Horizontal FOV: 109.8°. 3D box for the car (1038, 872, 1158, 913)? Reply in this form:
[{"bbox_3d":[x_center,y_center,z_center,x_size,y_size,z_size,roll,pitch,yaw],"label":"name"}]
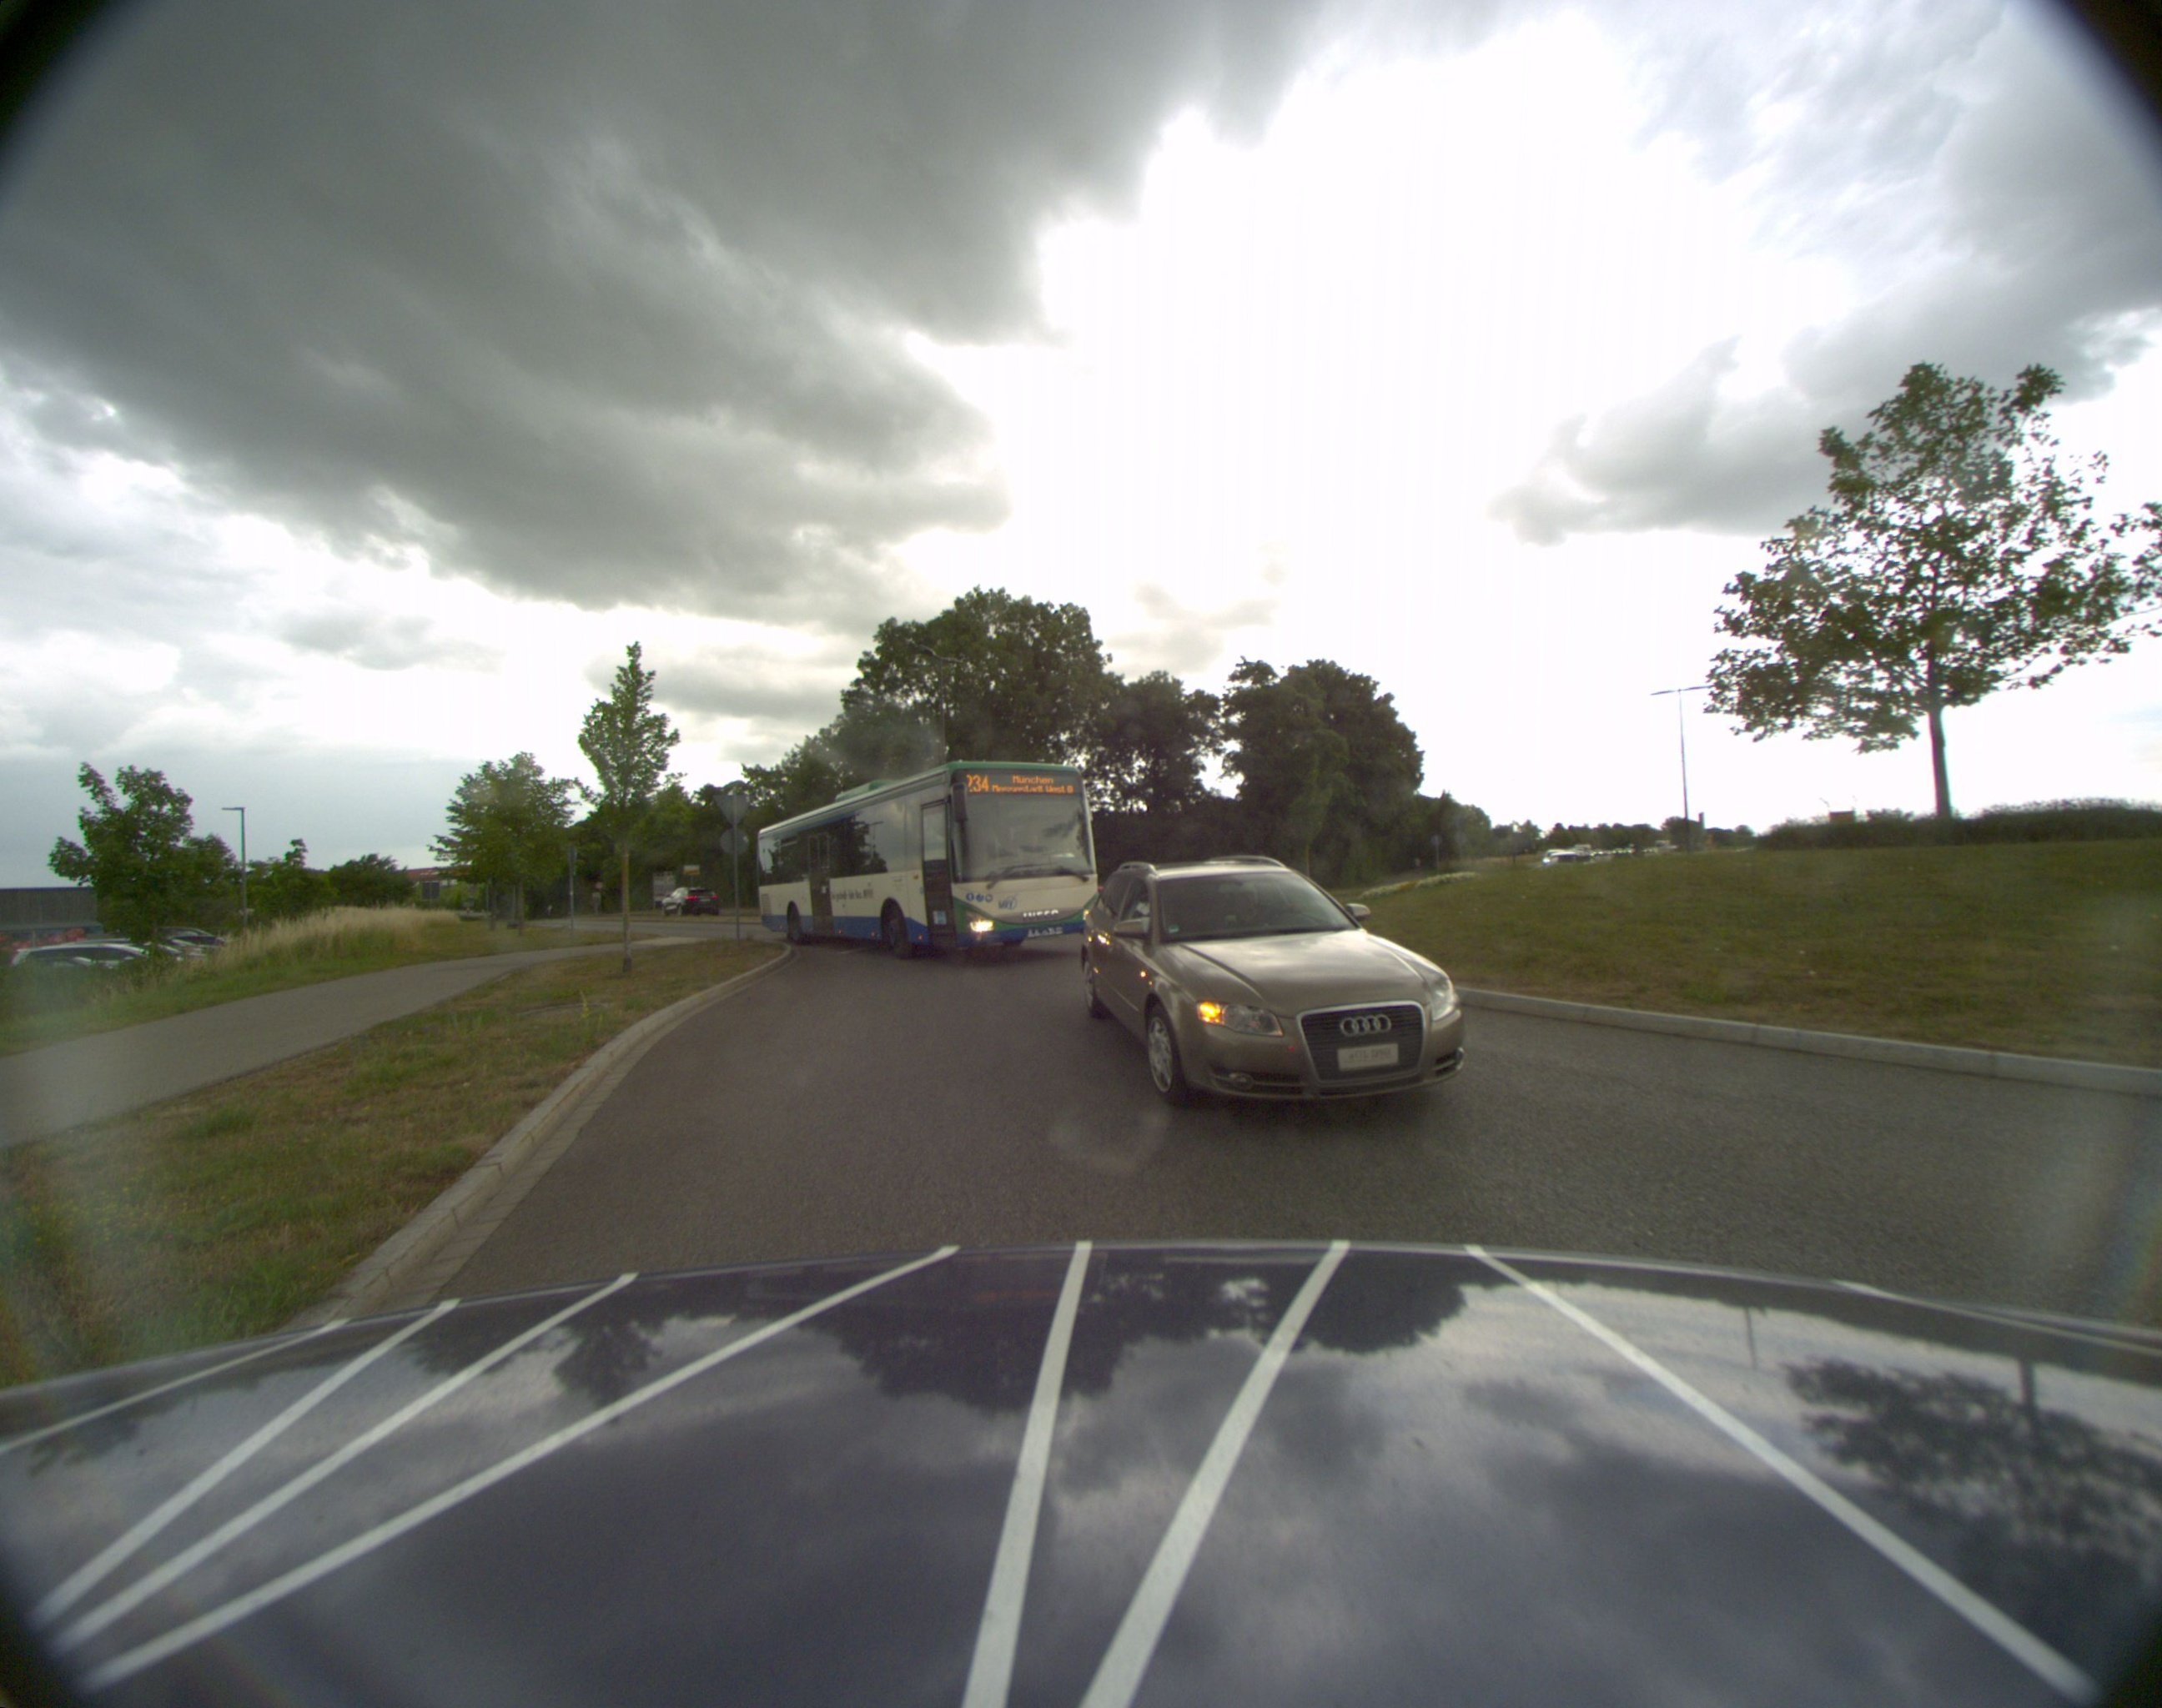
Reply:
[{"bbox_3d":[0.541,1.363,27.251,4.113,1.299,1.831,-1,-2,-4],"label":"car"}]

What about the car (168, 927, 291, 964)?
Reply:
[{"bbox_3d":[-43.982,4.700,39.376,3.896,1.455,1.693,-2,-1,-34],"label":"car"}]

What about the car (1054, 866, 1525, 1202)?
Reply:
[{"bbox_3d":[0.984,0.901,5.964,1.783,1.456,4.538,-4,-1,-9],"label":"car"}]

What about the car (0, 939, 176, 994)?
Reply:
[{"bbox_3d":[-35.496,3.963,27.030,3.896,1.455,1.693,-2,-1,-34],"label":"car"}]

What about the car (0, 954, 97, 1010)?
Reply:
[{"bbox_3d":[-34.074,4.082,23.625,3.896,1.455,1.693,-2,-1,-34],"label":"car"}]

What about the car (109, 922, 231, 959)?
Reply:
[{"bbox_3d":[-47.817,4.499,40.012,1.879,1.435,4.008,-3,-1,42],"label":"car"}]

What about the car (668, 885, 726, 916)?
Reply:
[{"bbox_3d":[-20.716,2.487,40.955,3.572,1.496,1.647,-3,-1,44],"label":"car"}]

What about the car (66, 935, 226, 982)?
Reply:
[{"bbox_3d":[-39.276,4.350,32.074,3.896,1.455,1.693,-2,-1,-34],"label":"car"}]

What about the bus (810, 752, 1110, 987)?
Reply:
[{"bbox_3d":[-2.572,0.197,13.820,2.529,3.240,6.532,-5,2,-35],"label":"bus"}]

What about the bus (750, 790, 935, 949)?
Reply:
[{"bbox_3d":[-6.034,0.329,18.673,2.529,3.240,5.447,-5,2,-35],"label":"bus"}]
